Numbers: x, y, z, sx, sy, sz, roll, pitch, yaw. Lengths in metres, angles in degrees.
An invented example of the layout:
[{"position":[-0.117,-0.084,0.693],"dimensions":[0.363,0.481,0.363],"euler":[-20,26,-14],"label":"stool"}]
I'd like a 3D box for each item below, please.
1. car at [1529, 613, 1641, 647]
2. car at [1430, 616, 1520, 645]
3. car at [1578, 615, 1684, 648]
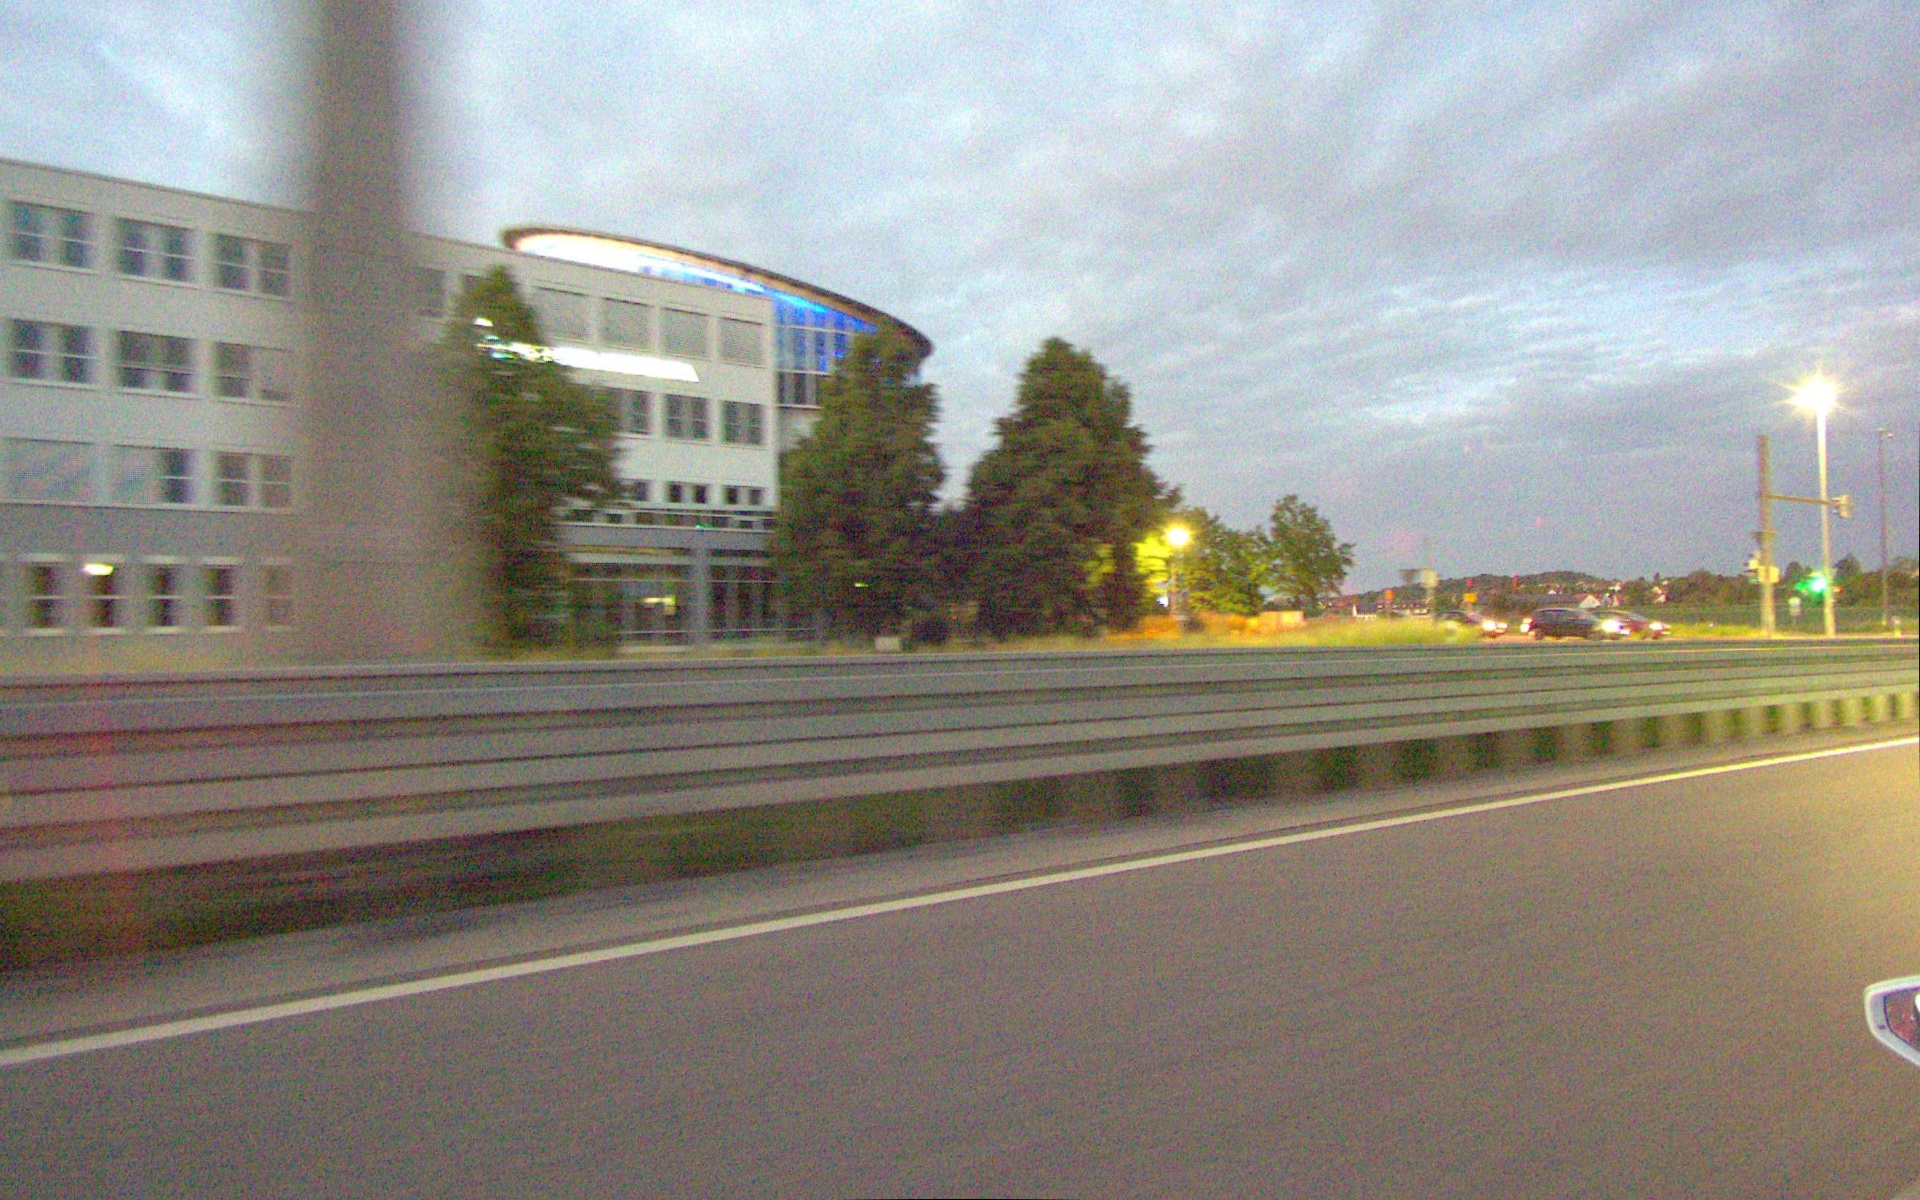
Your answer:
[{"position":[29.961,1.446,48.285],"dimensions":[1.708,1.558,4.295],"euler":[0,-2,-29],"label":"car"},{"position":[27.535,1.657,53.846],"dimensions":[1.711,1.493,3.963],"euler":[1,-2,-34],"label":"car"},{"position":[33.111,1.557,49.688],"dimensions":[1.709,1.558,4.021],"euler":[1,-2,-31],"label":"car"}]
